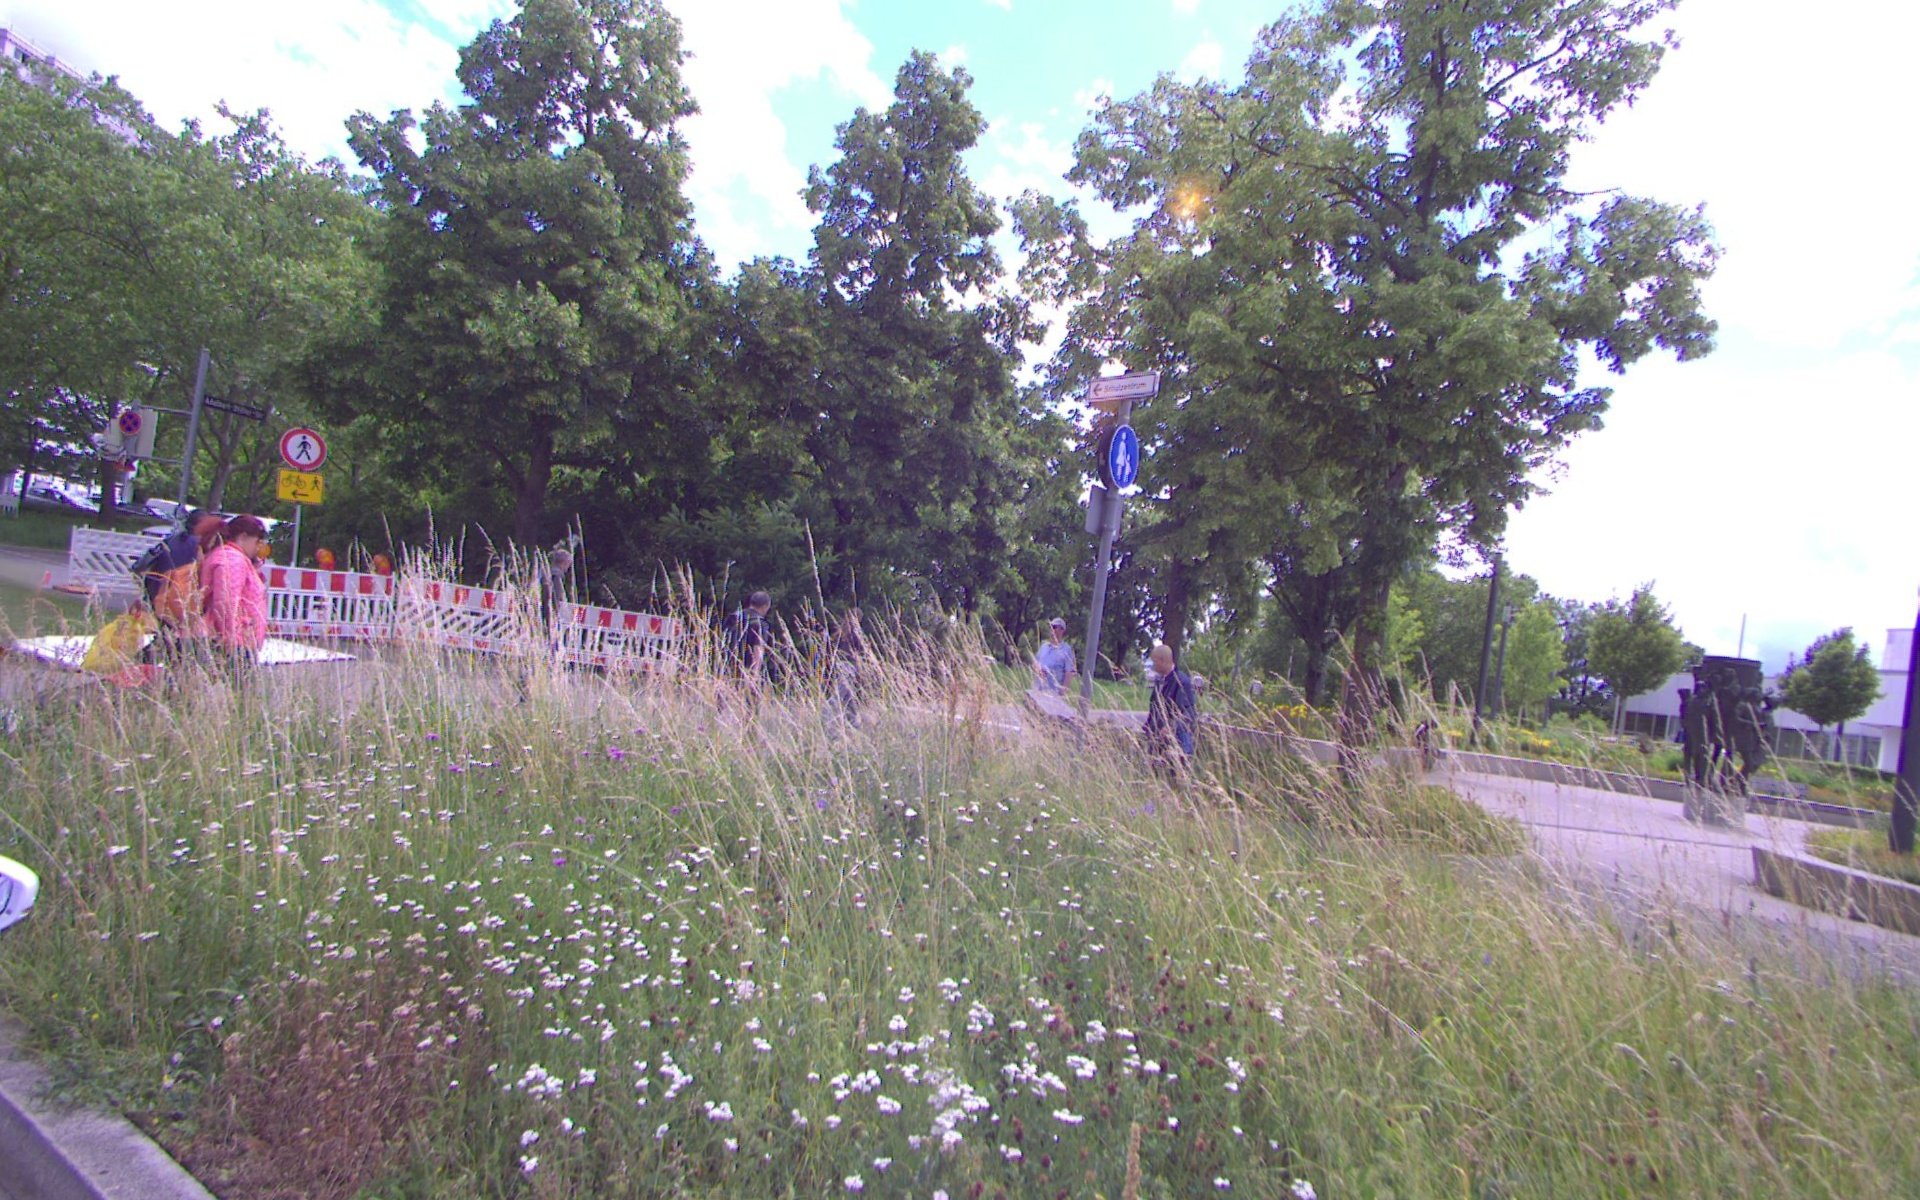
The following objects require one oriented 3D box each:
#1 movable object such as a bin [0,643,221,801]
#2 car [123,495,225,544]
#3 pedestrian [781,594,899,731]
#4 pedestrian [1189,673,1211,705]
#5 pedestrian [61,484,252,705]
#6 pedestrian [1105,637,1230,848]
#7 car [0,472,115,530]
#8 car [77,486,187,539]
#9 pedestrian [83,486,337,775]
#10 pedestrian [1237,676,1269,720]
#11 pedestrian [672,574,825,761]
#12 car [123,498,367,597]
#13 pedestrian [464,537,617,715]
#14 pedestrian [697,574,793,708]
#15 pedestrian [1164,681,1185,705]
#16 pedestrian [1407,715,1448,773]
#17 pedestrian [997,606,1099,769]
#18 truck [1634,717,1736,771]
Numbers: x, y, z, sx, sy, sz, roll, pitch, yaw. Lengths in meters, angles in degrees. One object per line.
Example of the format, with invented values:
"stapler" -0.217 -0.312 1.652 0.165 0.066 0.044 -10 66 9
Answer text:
"movable object such as a bin" -4.598 0.628 5.350 0.765 0.669 0.797 7 -1 32
"car" -44.247 -4.523 56.691 3.926 2.037 2.001 8 -1 0
"pedestrian" -1.597 0.841 13.411 0.915 1.667 1.021 7 -1 38
"pedestrian" 13.927 5.157 58.373 0.879 1.732 0.817 8 -1 30
"pedestrian" -6.544 -0.042 8.199 0.916 1.626 0.912 7 -1 41
"pedestrian" 1.771 1.190 8.705 0.750 1.644 0.772 8 -1 3
"car" -43.697 -4.773 48.571 3.926 2.037 2.001 8 -1 0
"car" -43.792 -4.597 53.287 3.926 2.037 2.001 8 -1 0
"pedestrian" -4.540 0.188 6.119 0.734 1.573 0.882 7 -1 32
"pedestrian" 14.821 4.945 50.926 1.137 2.037 0.817 8 0 30
"pedestrian" -2.082 0.670 9.962 0.866 1.667 0.960 7 -1 33
"car" -19.717 -1.384 28.055 1.915 1.895 5.090 7 -2 28
"pedestrian" -4.594 0.302 11.049 0.914 1.794 1.004 7 -1 32
"pedestrian" -3.067 0.591 14.362 0.815 1.763 0.782 7 0 35
"pedestrian" 15.695 6.810 73.736 1.135 1.571 0.818 8 -1 -2
"pedestrian" 10.807 3.316 23.231 0.623 1.236 0.618 7 -1 36
"pedestrian" 1.089 1.070 12.388 0.760 1.862 0.763 7 -1 35
"truck" 37.315 7.398 51.933 1.965 2.037 3.999 8 -1 -4
